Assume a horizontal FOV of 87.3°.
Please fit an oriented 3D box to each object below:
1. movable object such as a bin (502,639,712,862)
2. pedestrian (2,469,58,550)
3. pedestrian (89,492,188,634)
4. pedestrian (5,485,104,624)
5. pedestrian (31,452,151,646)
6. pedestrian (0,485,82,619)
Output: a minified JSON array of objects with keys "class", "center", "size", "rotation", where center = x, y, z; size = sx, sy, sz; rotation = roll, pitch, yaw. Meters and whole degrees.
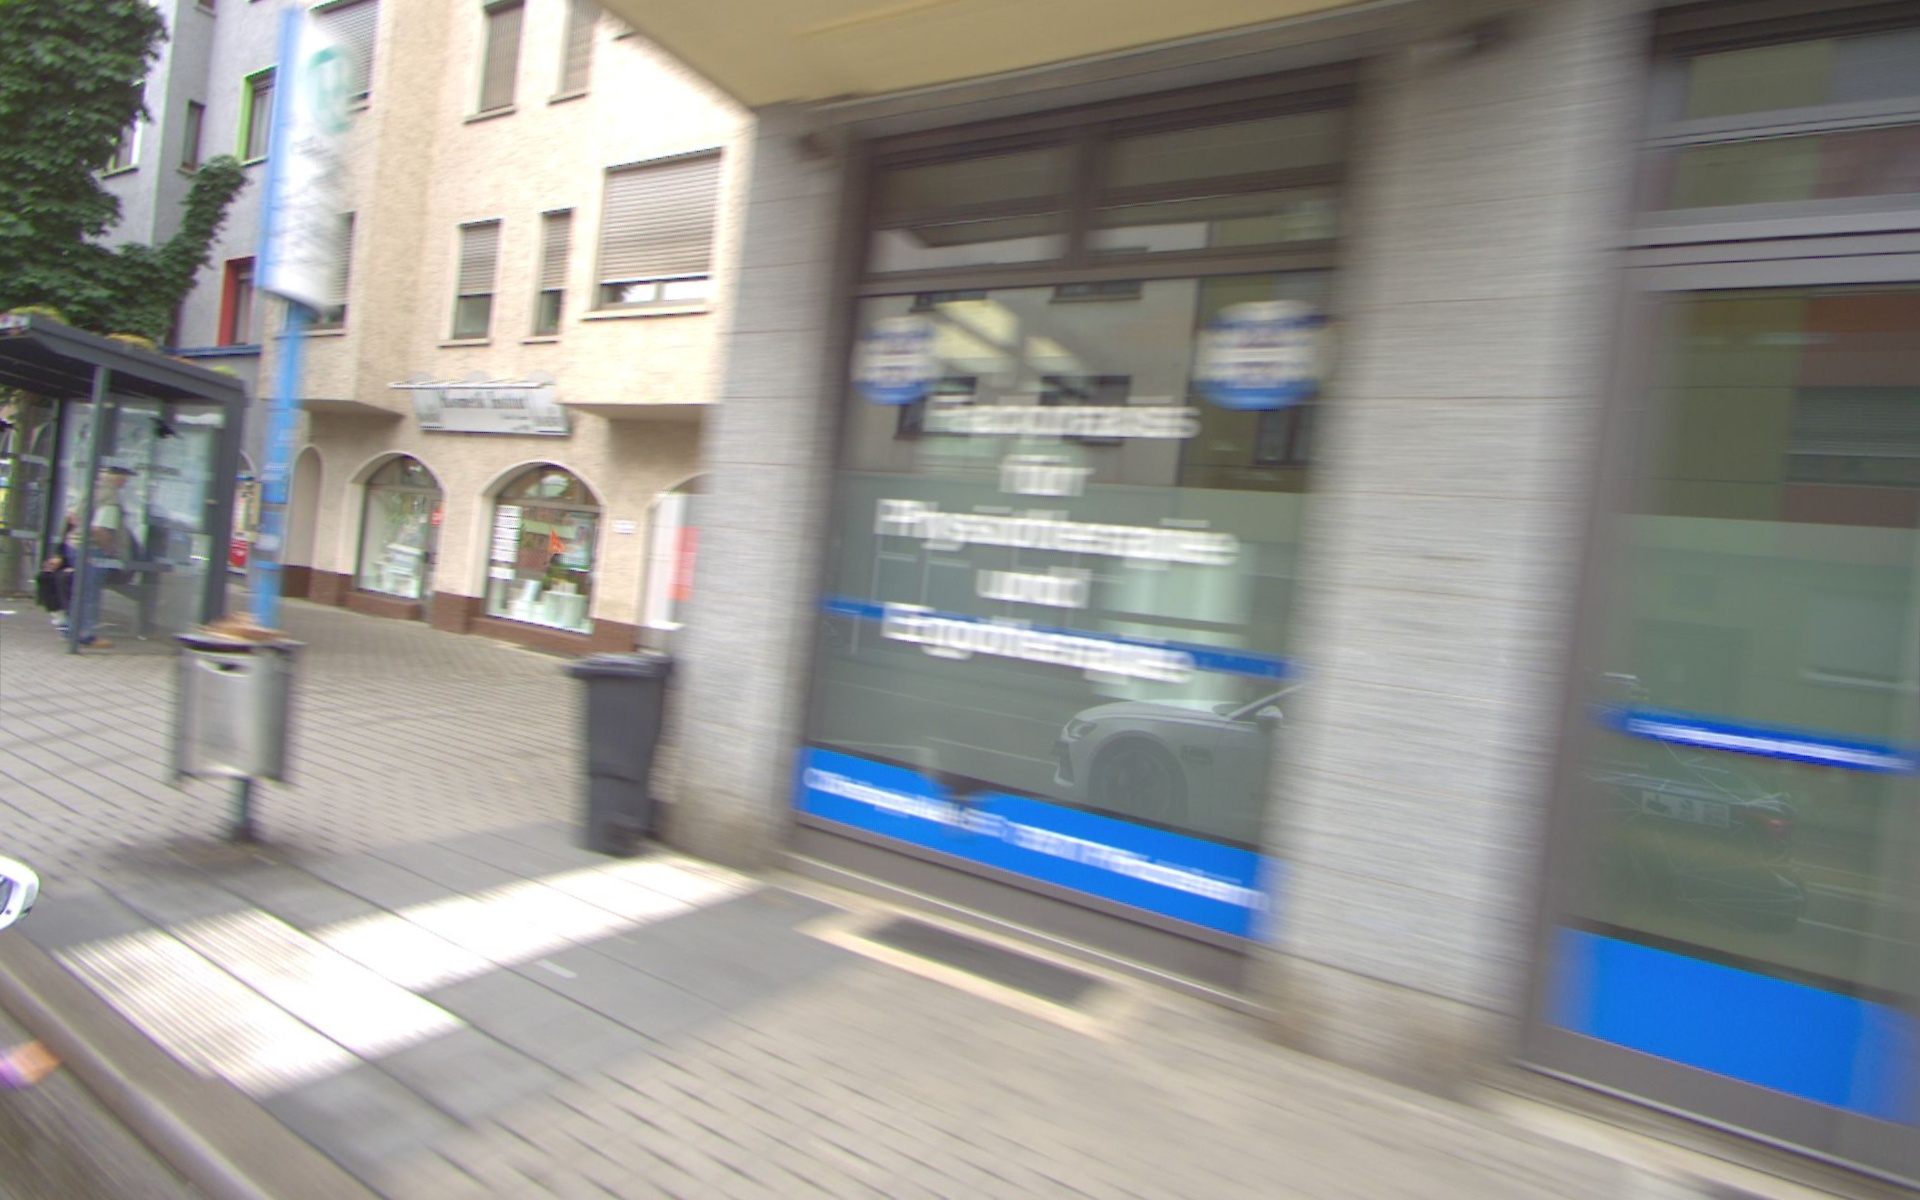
[{"class":"movable object such as a bin","center":[-1.739,0.706,4.980],"size":[0.693,0.938,0.600],"rotation":[7,1,31]},{"class":"pedestrian","center":[-19.790,-1.923,21.403],"size":[0.714,1.591,0.644],"rotation":[7,1,34]},{"class":"pedestrian","center":[-8.619,-0.377,10.565],"size":[0.505,1.414,0.564],"rotation":[7,1,28]},{"class":"pedestrian","center":[-9.454,-0.472,10.512],"size":[0.586,1.367,0.534],"rotation":[7,1,30]},{"class":"pedestrian","center":[-8.182,-0.472,9.475],"size":[0.646,1.721,0.619],"rotation":[7,1,35]},{"class":"pedestrian","center":[-10.025,-0.515,10.836],"size":[0.614,1.352,0.606],"rotation":[7,1,30]}]
